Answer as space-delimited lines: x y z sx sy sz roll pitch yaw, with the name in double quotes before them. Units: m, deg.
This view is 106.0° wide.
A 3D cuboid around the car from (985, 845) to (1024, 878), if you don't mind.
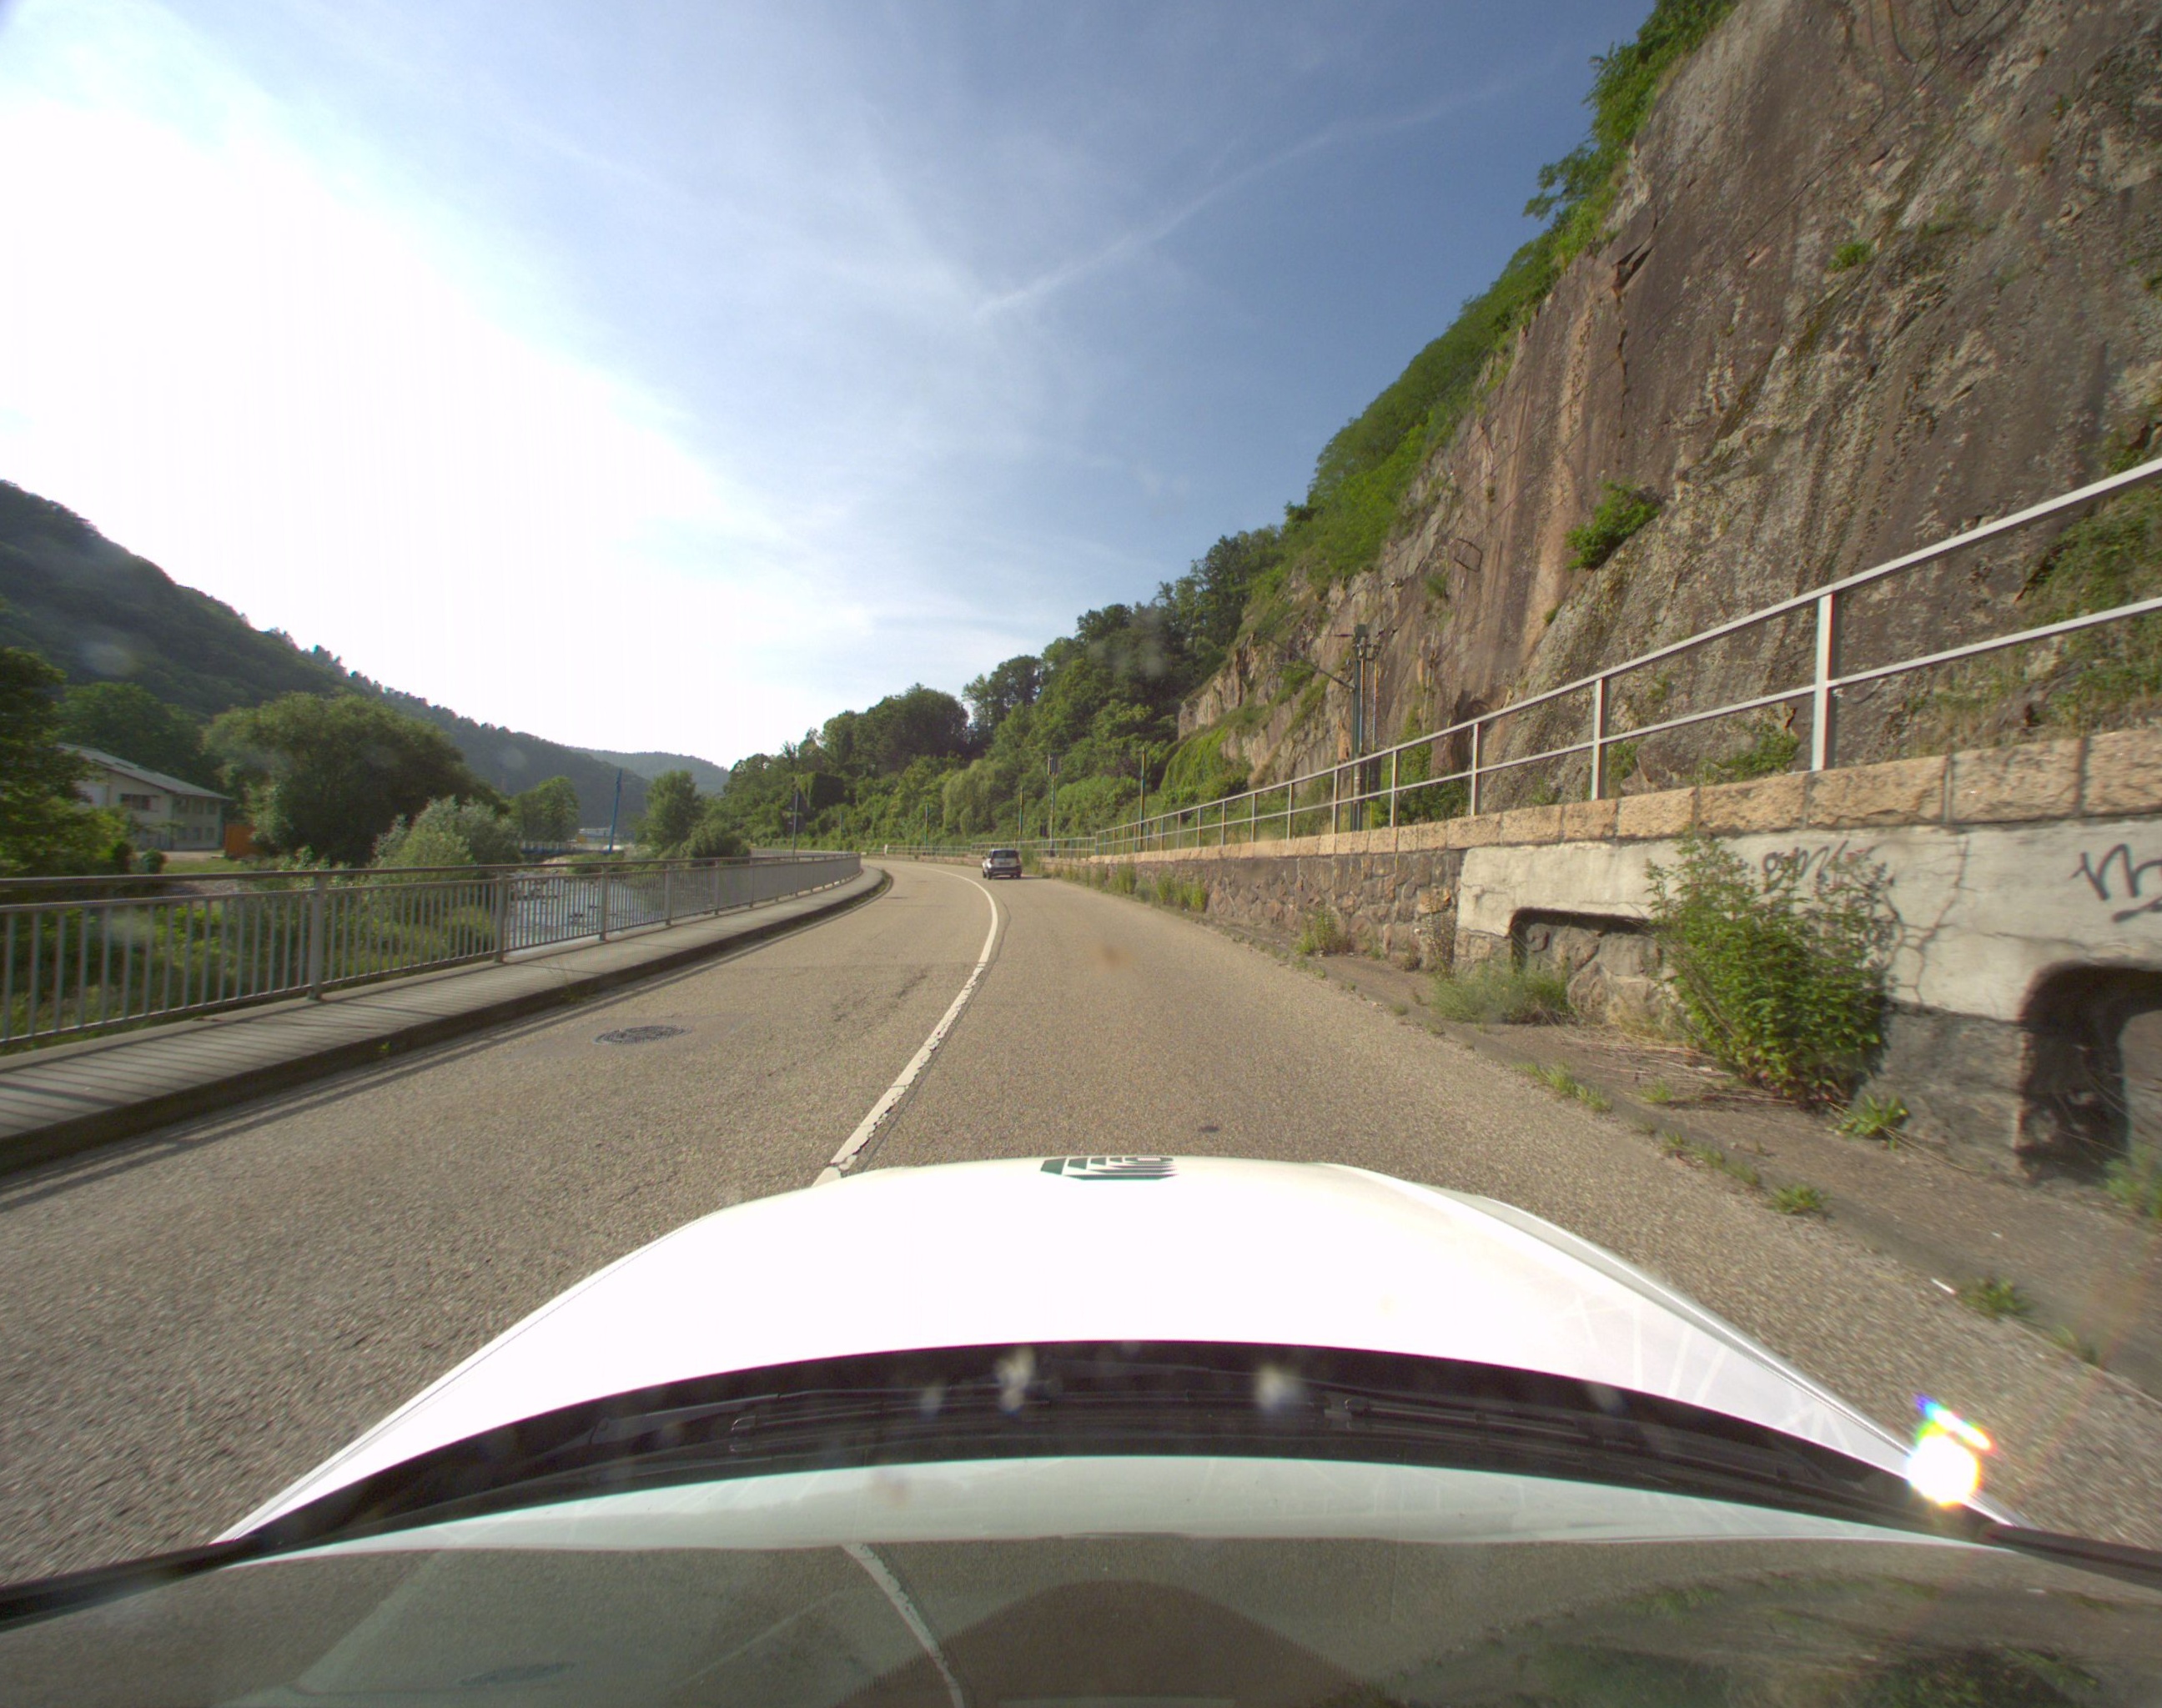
"car" -4.185 0.375 43.940 1.872 1.655 3.988 -1 1 -9
